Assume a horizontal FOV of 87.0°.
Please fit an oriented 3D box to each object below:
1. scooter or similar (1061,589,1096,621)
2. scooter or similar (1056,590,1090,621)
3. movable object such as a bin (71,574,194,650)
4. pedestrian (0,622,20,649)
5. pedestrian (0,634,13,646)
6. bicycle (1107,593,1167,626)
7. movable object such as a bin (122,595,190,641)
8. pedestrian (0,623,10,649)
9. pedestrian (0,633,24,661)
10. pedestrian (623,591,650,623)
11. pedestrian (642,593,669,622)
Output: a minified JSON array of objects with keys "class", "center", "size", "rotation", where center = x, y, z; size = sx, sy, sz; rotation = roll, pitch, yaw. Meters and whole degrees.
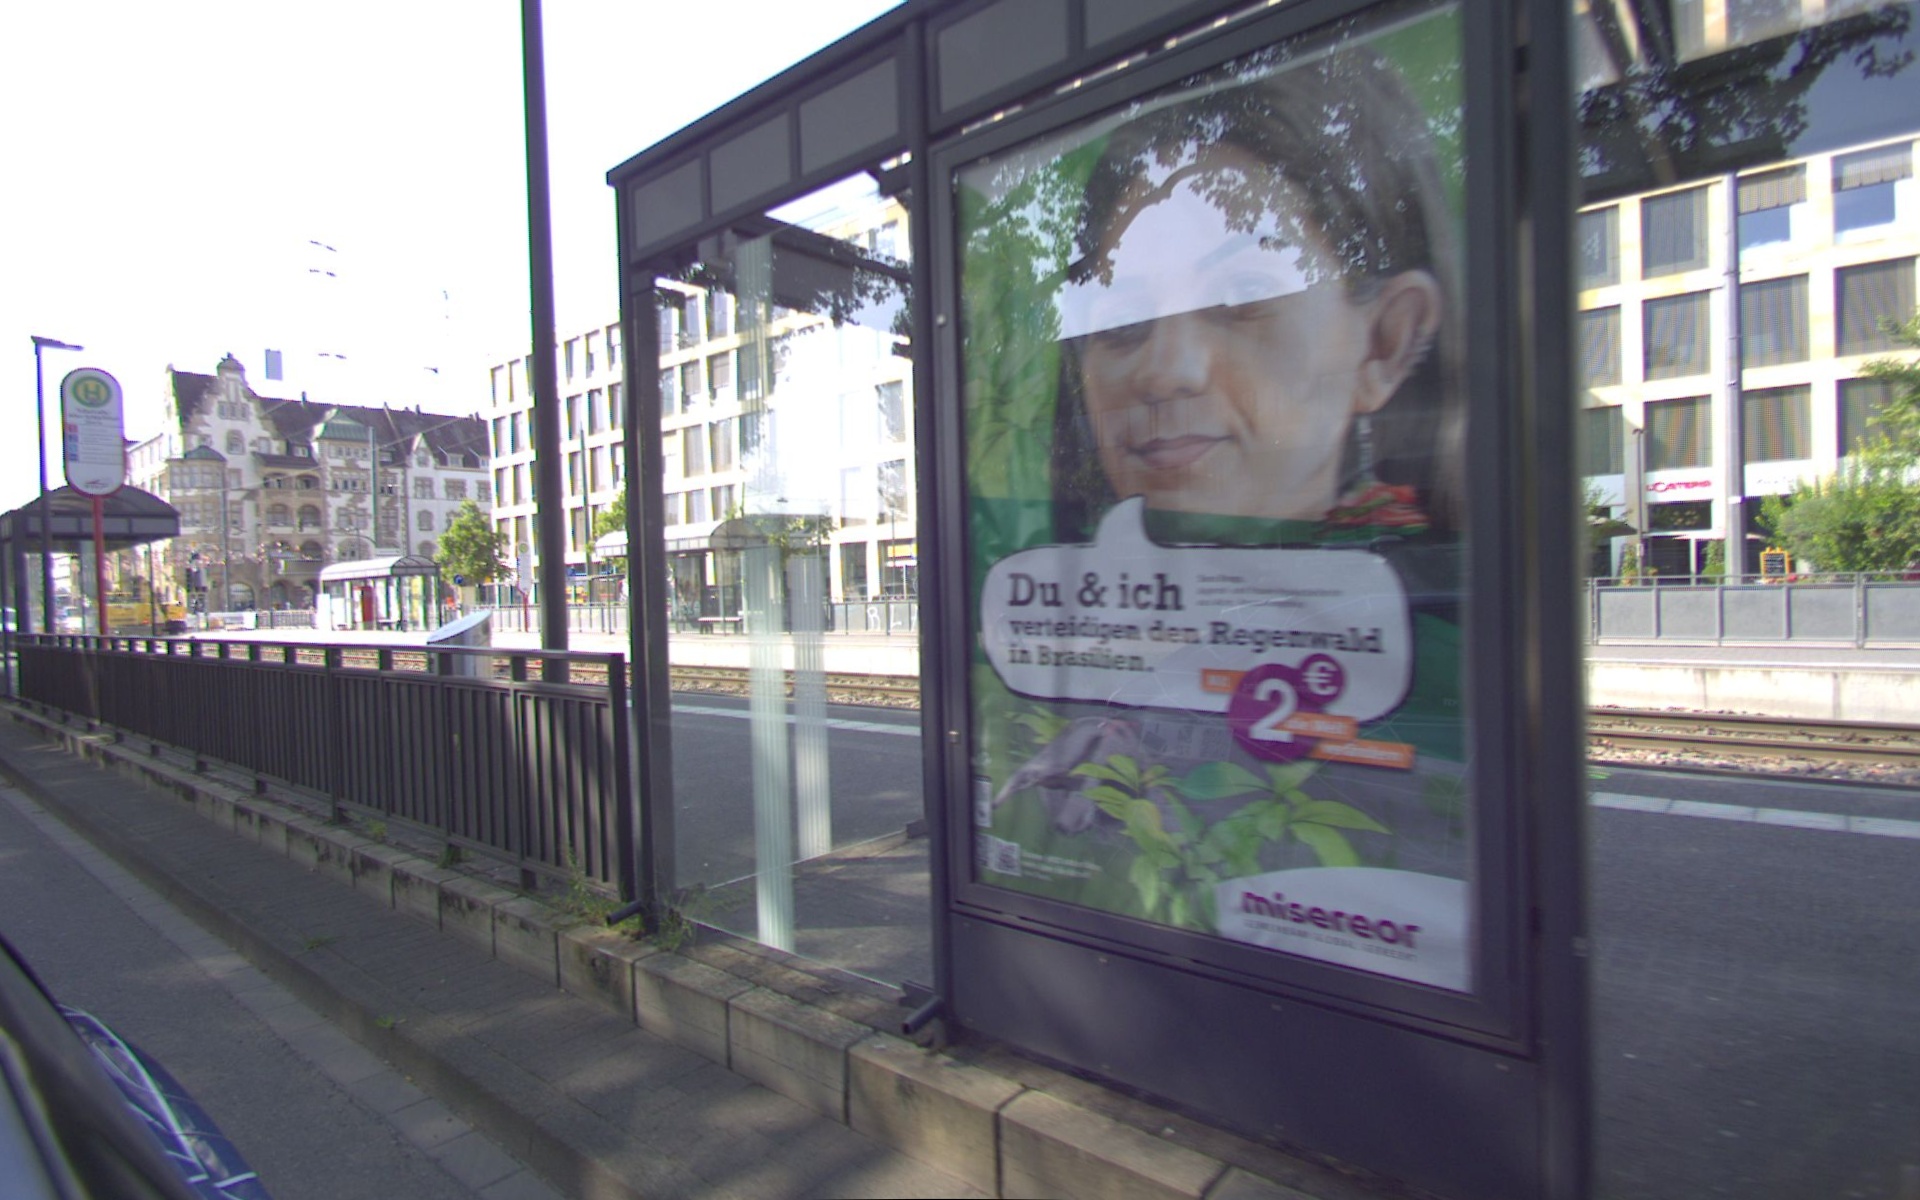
[{"class":"scooter or similar","center":[3.946,0.162,33.681],"size":[0.395,0.993,1.507],"rotation":[-2,0,39]},{"class":"scooter or similar","center":[3.828,0.170,34.293],"size":[0.371,0.993,1.486],"rotation":[-2,0,39]},{"class":"movable object such as a bin","center":[-48.706,0.702,59.923],"size":[3.454,4.043,9.071],"rotation":[-2,0,-25]},{"class":"pedestrian","center":[-49.339,1.840,52.037],"size":[1.293,1.316,0.801],"rotation":[-2,0,-25]},{"class":"pedestrian","center":[-52.078,2.192,54.233],"size":[0.913,0.641,1.880],"rotation":[-2,0,44]},{"class":"bicycle","center":[5.793,0.292,33.012],"size":[0.821,0.993,2.409],"rotation":[-2,0,39]},{"class":"movable object such as a bin","center":[-63.229,1.395,79.512],"size":[8.345,3.355,2.816],"rotation":[-1,0,43]},{"class":"pedestrian","center":[-48.827,1.840,51.262],"size":[0.826,1.316,0.801],"rotation":[-2,0,-25]},{"class":"pedestrian","center":[-47.723,2.366,50.800],"size":[0.983,1.316,1.004],"rotation":[-2,0,44]},{"class":"pedestrian","center":[-17.823,0.389,55.781],"size":[1.123,1.765,0.966],"rotation":[-2,0,41]},{"class":"pedestrian","center":[-17.016,0.417,56.591],"size":[1.123,1.609,0.966],"rotation":[-2,0,41]}]
